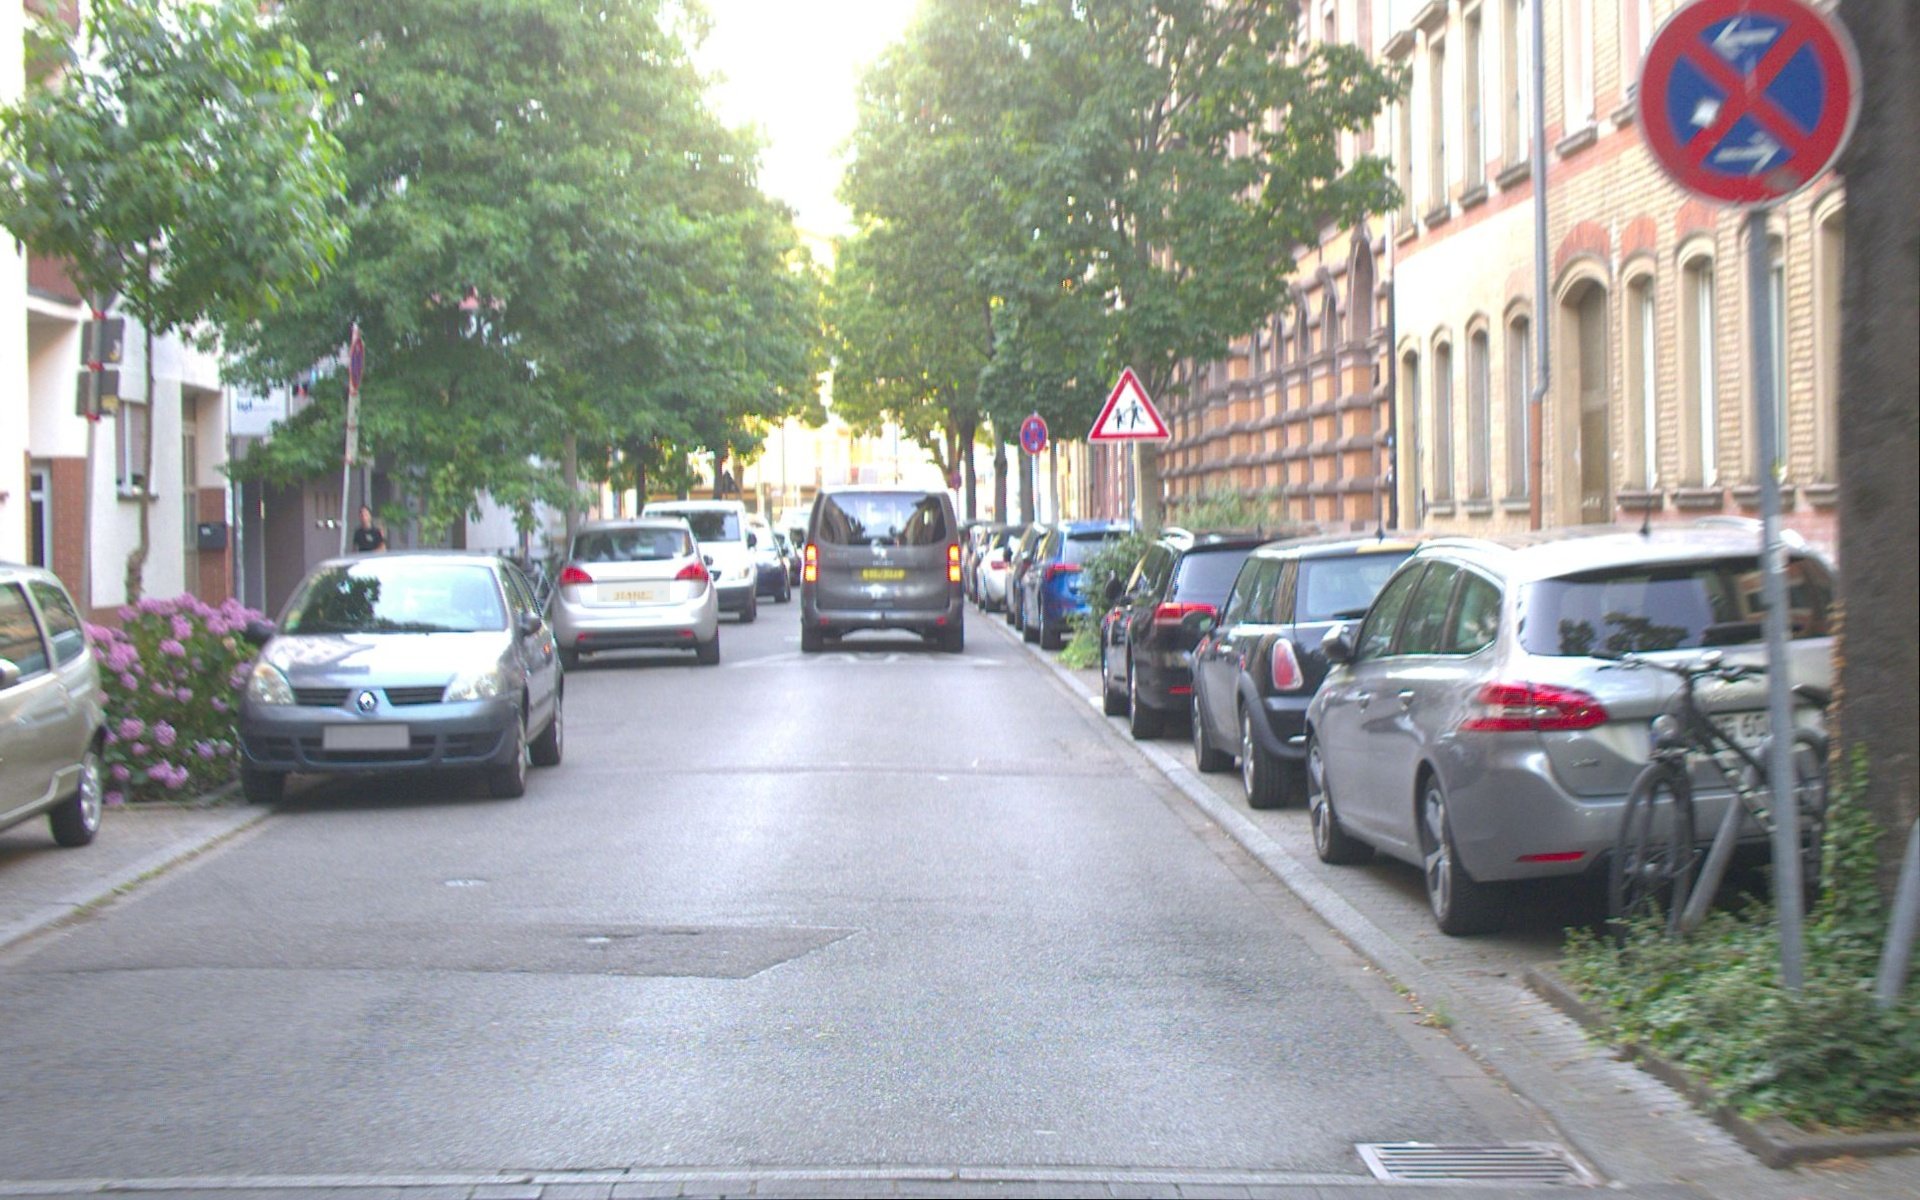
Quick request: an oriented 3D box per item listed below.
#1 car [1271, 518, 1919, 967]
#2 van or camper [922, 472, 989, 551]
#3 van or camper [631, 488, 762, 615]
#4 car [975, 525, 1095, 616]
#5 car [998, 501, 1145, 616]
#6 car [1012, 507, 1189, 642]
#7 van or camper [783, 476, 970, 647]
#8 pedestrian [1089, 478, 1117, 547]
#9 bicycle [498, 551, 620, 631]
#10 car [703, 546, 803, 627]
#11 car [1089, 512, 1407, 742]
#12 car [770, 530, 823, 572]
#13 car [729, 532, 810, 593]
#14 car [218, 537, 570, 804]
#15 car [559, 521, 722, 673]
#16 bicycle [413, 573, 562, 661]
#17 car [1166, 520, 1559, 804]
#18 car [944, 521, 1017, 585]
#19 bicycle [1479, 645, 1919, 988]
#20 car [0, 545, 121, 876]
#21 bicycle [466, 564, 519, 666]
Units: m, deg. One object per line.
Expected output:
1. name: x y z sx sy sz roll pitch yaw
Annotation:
1. car: 2.472 0.438 14.071 1.716 1.471 4.369 -3 2 -3
2. van or camper: -0.181 -2.974 116.232 1.993 2.590 5.425 -1 1 -3
3. van or camper: -4.034 -0.776 53.280 1.876 1.836 4.754 -2 1 -3
4. car: 1.202 -0.520 57.016 1.693 1.396 4.647 -2 1 -2
5. car: 1.483 -0.594 47.215 1.711 1.472 4.193 -1 1 -2
6. car: 1.590 -0.331 40.242 1.627 1.461 4.246 -1 1 -3
7. van or camper: -0.923 -0.473 40.440 2.035 1.891 4.271 -1 1 1
8. pedestrian: 3.439 -2.109 82.685 0.627 1.643 0.532 0 1 -1
9. bicycle: -6.090 -0.143 52.251 0.698 1.159 1.819 0 2 41
10. car: -4.055 -0.289 67.890 1.830 1.512 4.517 -1 1 -2
11. car: 1.968 0.126 24.706 1.766 1.410 4.474 -3 1 -1
12. car: -5.695 -1.713 120.054 1.741 1.399 3.375 -2 1 -2
13. car: -4.720 -0.957 85.690 1.846 1.446 4.503 0 1 -1
14. car: -3.322 0.353 20.771 1.580 1.415 3.753 -1 1 -2
15. car: -3.500 -0.074 38.034 1.663 1.557 4.001 -2 1 -4
16. bicycle: -5.500 0.199 40.016 1.728 0.991 0.575 0 2 32
17. car: 2.206 0.280 19.675 1.635 1.419 3.565 -2 1 -3
18. car: 0.512 -1.209 88.164 1.611 1.553 3.767 -2 1 -3
19. bicycle: 2.689 0.668 11.178 1.915 0.978 0.638 -2 1 -23
20. car: -5.029 0.476 15.757 1.587 1.432 3.566 1 1 -2
21. bicycle: -5.218 0.154 38.421 0.419 1.100 1.665 0 1 -2
